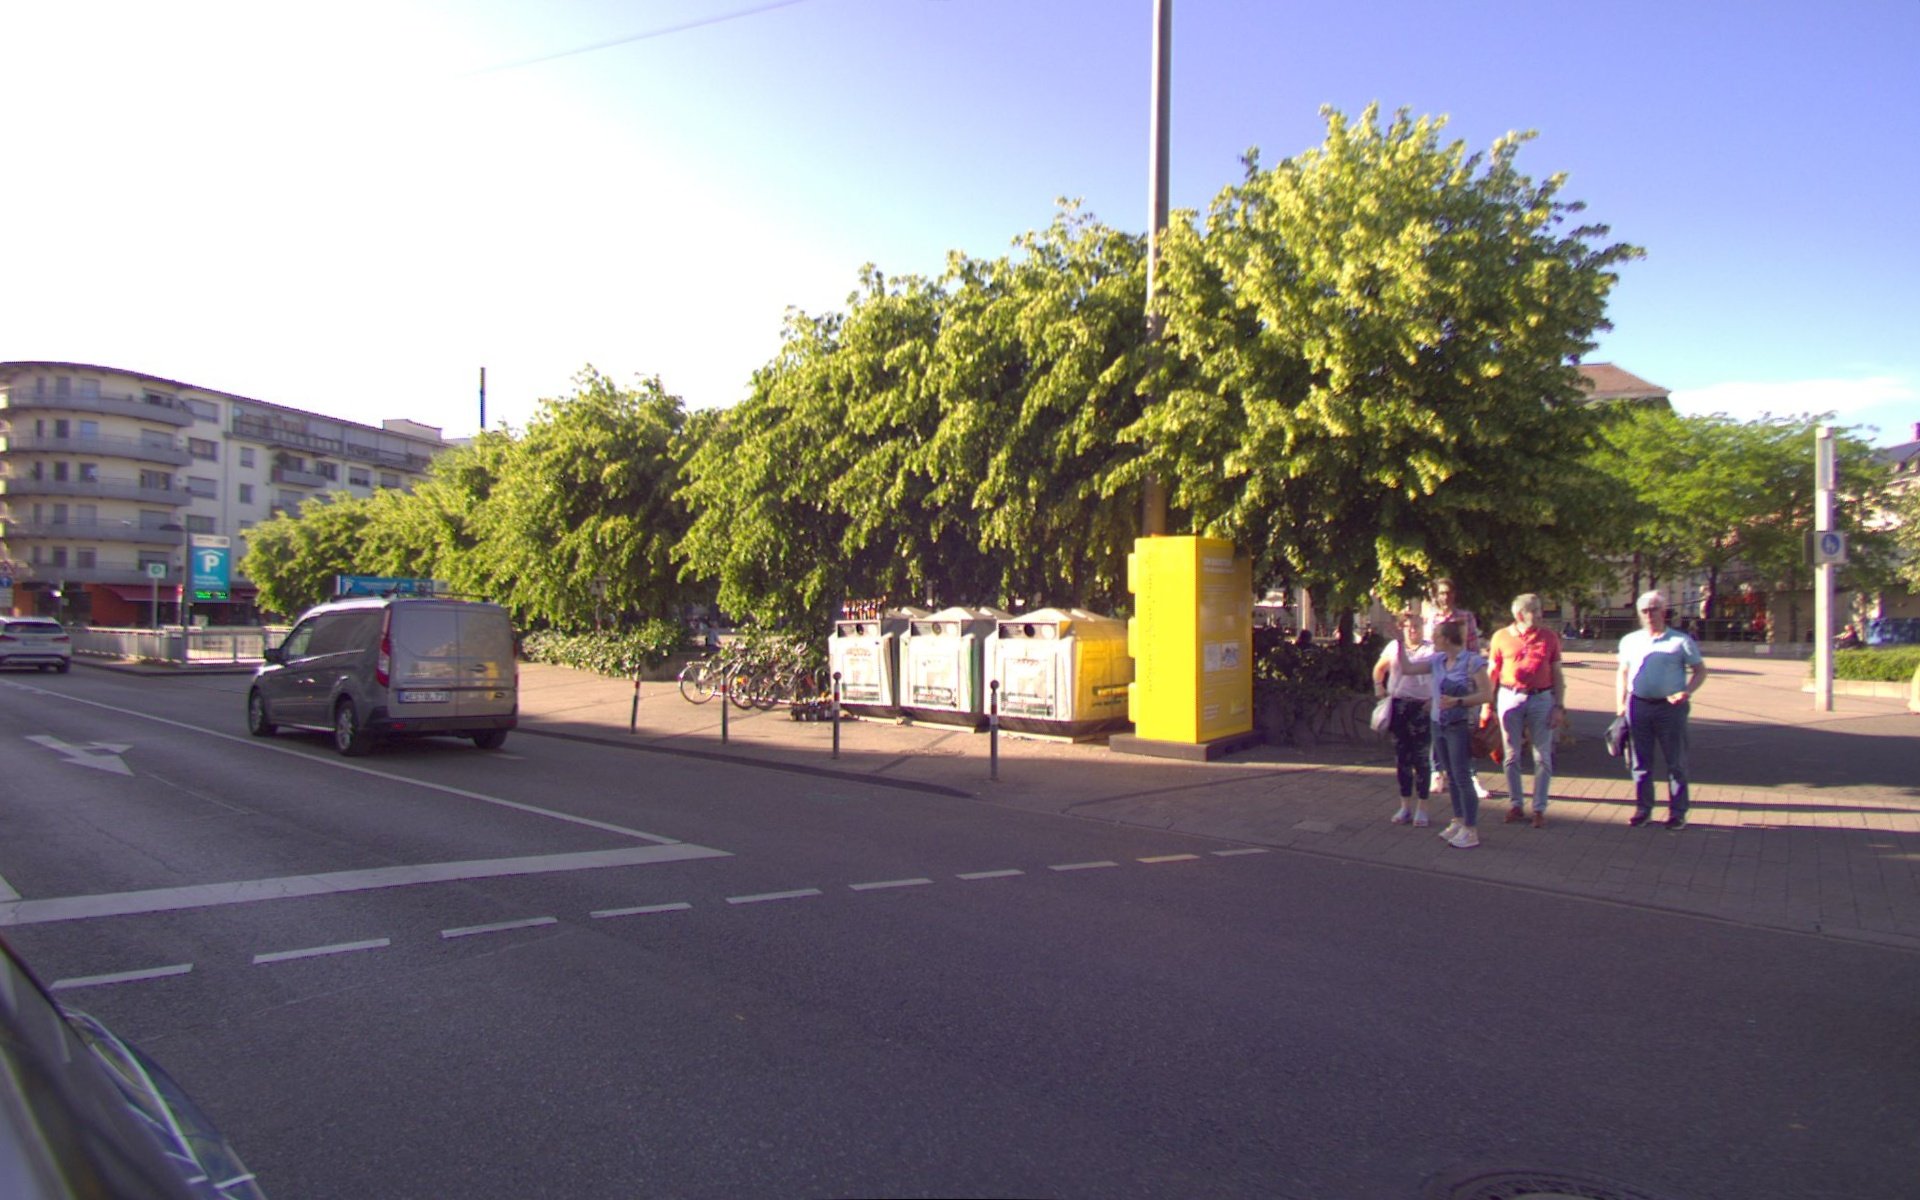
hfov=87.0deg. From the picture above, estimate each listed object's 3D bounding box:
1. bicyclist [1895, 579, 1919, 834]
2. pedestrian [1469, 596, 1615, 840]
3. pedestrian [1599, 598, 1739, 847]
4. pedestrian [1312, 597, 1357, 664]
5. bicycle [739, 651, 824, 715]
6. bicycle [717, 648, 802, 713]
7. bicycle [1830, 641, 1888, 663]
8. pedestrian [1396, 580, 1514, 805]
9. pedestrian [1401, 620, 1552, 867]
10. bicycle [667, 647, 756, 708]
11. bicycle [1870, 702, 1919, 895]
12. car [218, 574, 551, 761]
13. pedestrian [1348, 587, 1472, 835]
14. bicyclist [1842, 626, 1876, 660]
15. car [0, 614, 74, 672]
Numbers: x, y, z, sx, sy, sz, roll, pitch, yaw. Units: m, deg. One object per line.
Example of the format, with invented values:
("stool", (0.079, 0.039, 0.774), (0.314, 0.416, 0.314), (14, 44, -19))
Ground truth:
("bicyclist", (6.791, 0.691, 6.450), (0.791, 1.661, 0.997), (1, -2, -29))
("pedestrian", (4.534, 0.897, 7.920), (0.772, 1.825, 0.590), (1, -2, -5))
("pedestrian", (5.499, 0.908, 7.891), (0.779, 1.825, 0.584), (0, -2, 25))
("pedestrian", (17.279, 1.417, 46.694), (1.527, 3.001, 1.727), (-1, -3, 36))
("bicycle", (-2.978, 1.367, 16.993), (0.364, 1.010, 1.540), (-1, -2, 39))
("bicycle", (-3.398, 1.344, 17.244), (0.364, 1.039, 1.530), (-1, -2, 39))
("bicycle", (36.776, 2.110, 41.420), (1.698, 0.877, 0.522), (0, -1, 17))
("pedestrian", (4.504, 0.807, 9.226), (0.600, 1.933, 0.785), (2, -2, -40))
("pedestrian", (3.755, 0.997, 7.394), (0.676, 1.686, 0.699), (1, -2, -19))
("bicycle", (-4.453, 1.379, 18.195), (1.507, 1.039, 0.365), (2, -2, -36))
("bicycle", (6.724, 1.191, 6.408), (2.139, 1.080, 0.766), (-1, -1, -30))
("car", (-7.457, 0.808, 12.930), (4.777, 1.962, 1.974), (-1, -5, 39))
("pedestrian", (3.575, 0.851, 8.067), (0.640, 1.871, 0.627), (1, -2, -19))
("bicyclist", (36.797, 1.752, 41.423), (0.906, 1.355, 0.432), (0, -2, 18))
("car", (-27.379, 1.218, 29.257), (4.234, 1.559, 1.823), (-1, -4, 38))
